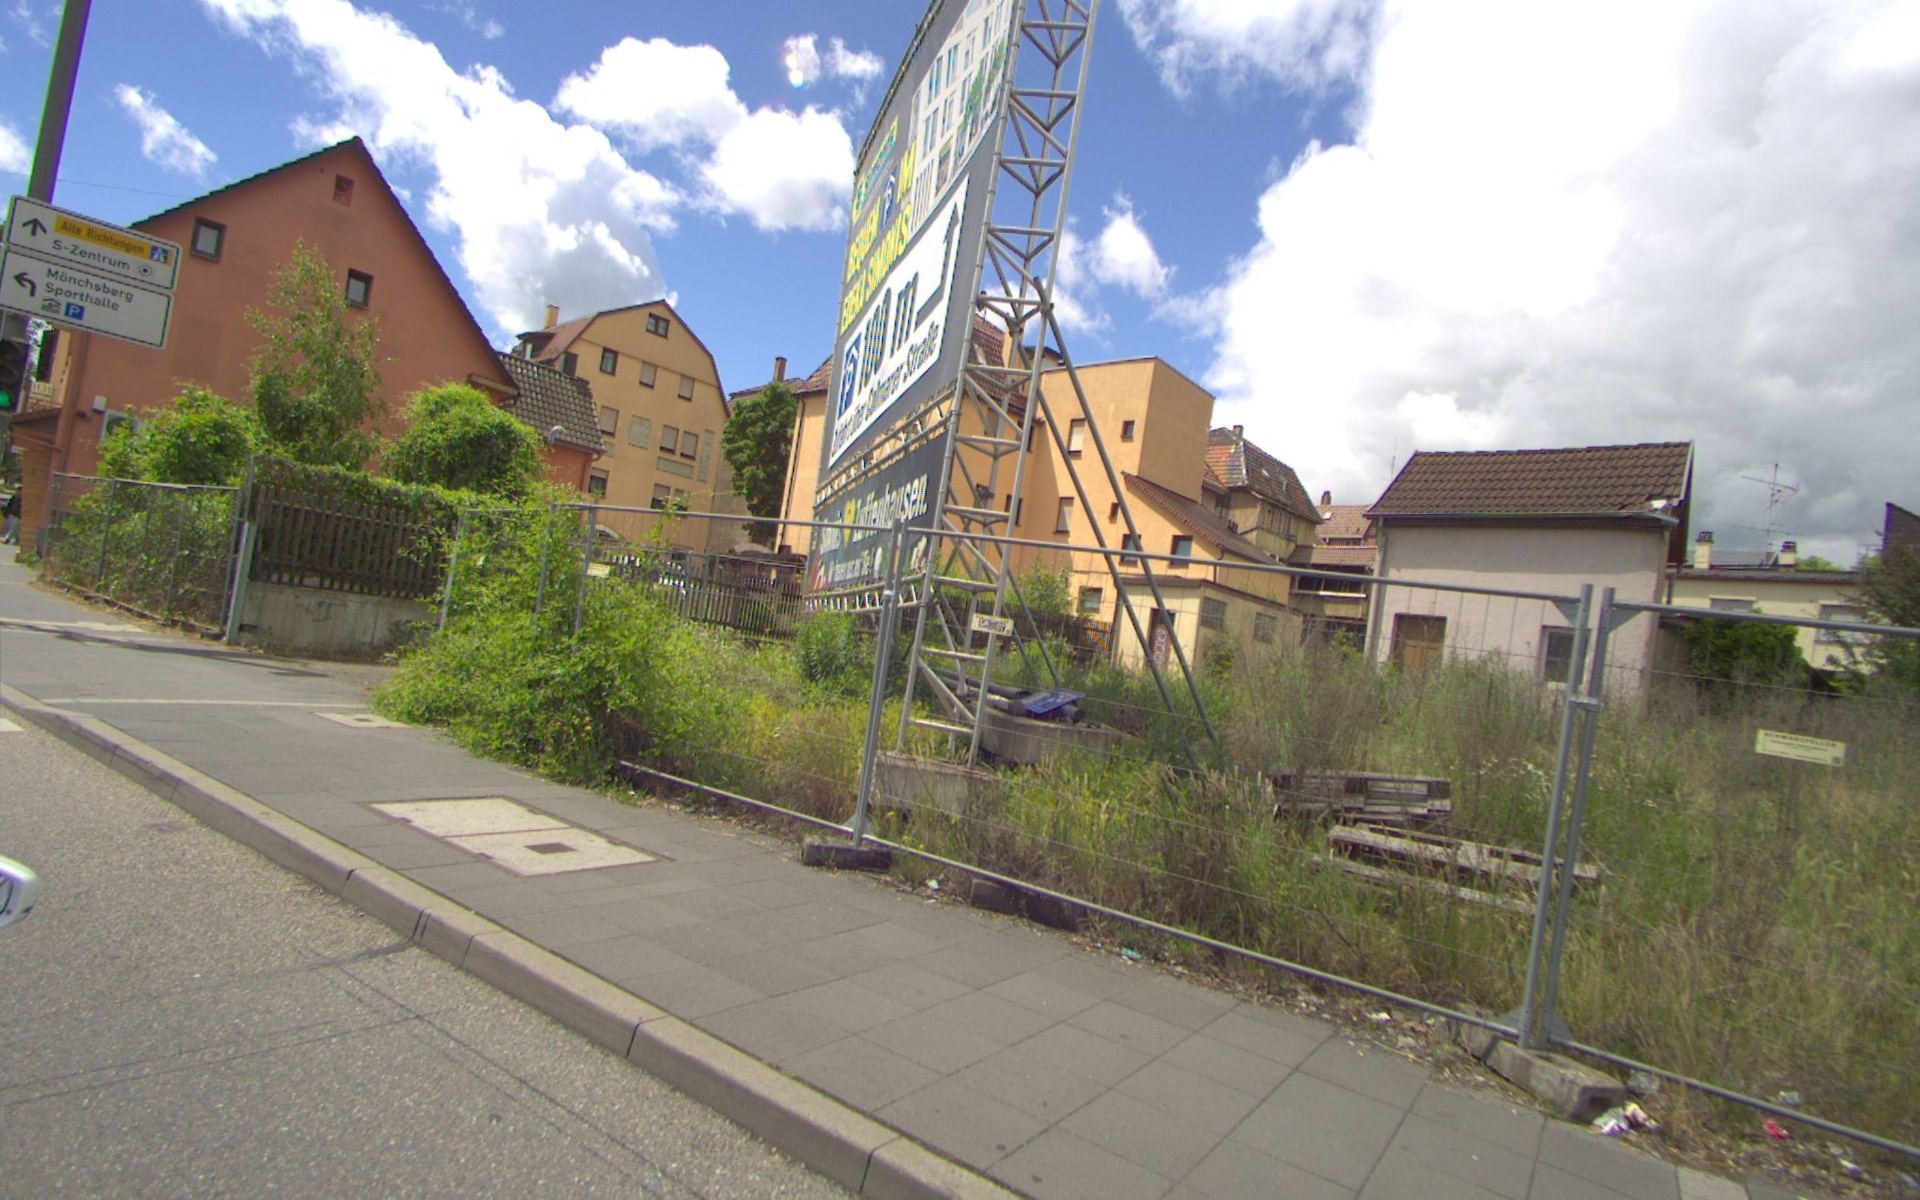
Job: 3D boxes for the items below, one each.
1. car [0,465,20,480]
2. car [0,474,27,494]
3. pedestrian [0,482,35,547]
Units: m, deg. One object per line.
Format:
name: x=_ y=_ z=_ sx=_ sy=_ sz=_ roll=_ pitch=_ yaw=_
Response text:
car: x=-158.779 y=-21.289 z=167.943 sx=1.982 sy=2.037 sz=3.964 roll=8 pitch=-2 yaw=-34
car: x=-114.110 y=-13.957 z=121.263 sx=2.117 sy=1.879 sz=3.694 roll=10 pitch=-2 yaw=-42
pedestrian: x=-26.570 y=-2.397 z=28.206 sx=0.762 sy=1.662 sz=0.768 roll=8 pitch=0 yaw=-45
